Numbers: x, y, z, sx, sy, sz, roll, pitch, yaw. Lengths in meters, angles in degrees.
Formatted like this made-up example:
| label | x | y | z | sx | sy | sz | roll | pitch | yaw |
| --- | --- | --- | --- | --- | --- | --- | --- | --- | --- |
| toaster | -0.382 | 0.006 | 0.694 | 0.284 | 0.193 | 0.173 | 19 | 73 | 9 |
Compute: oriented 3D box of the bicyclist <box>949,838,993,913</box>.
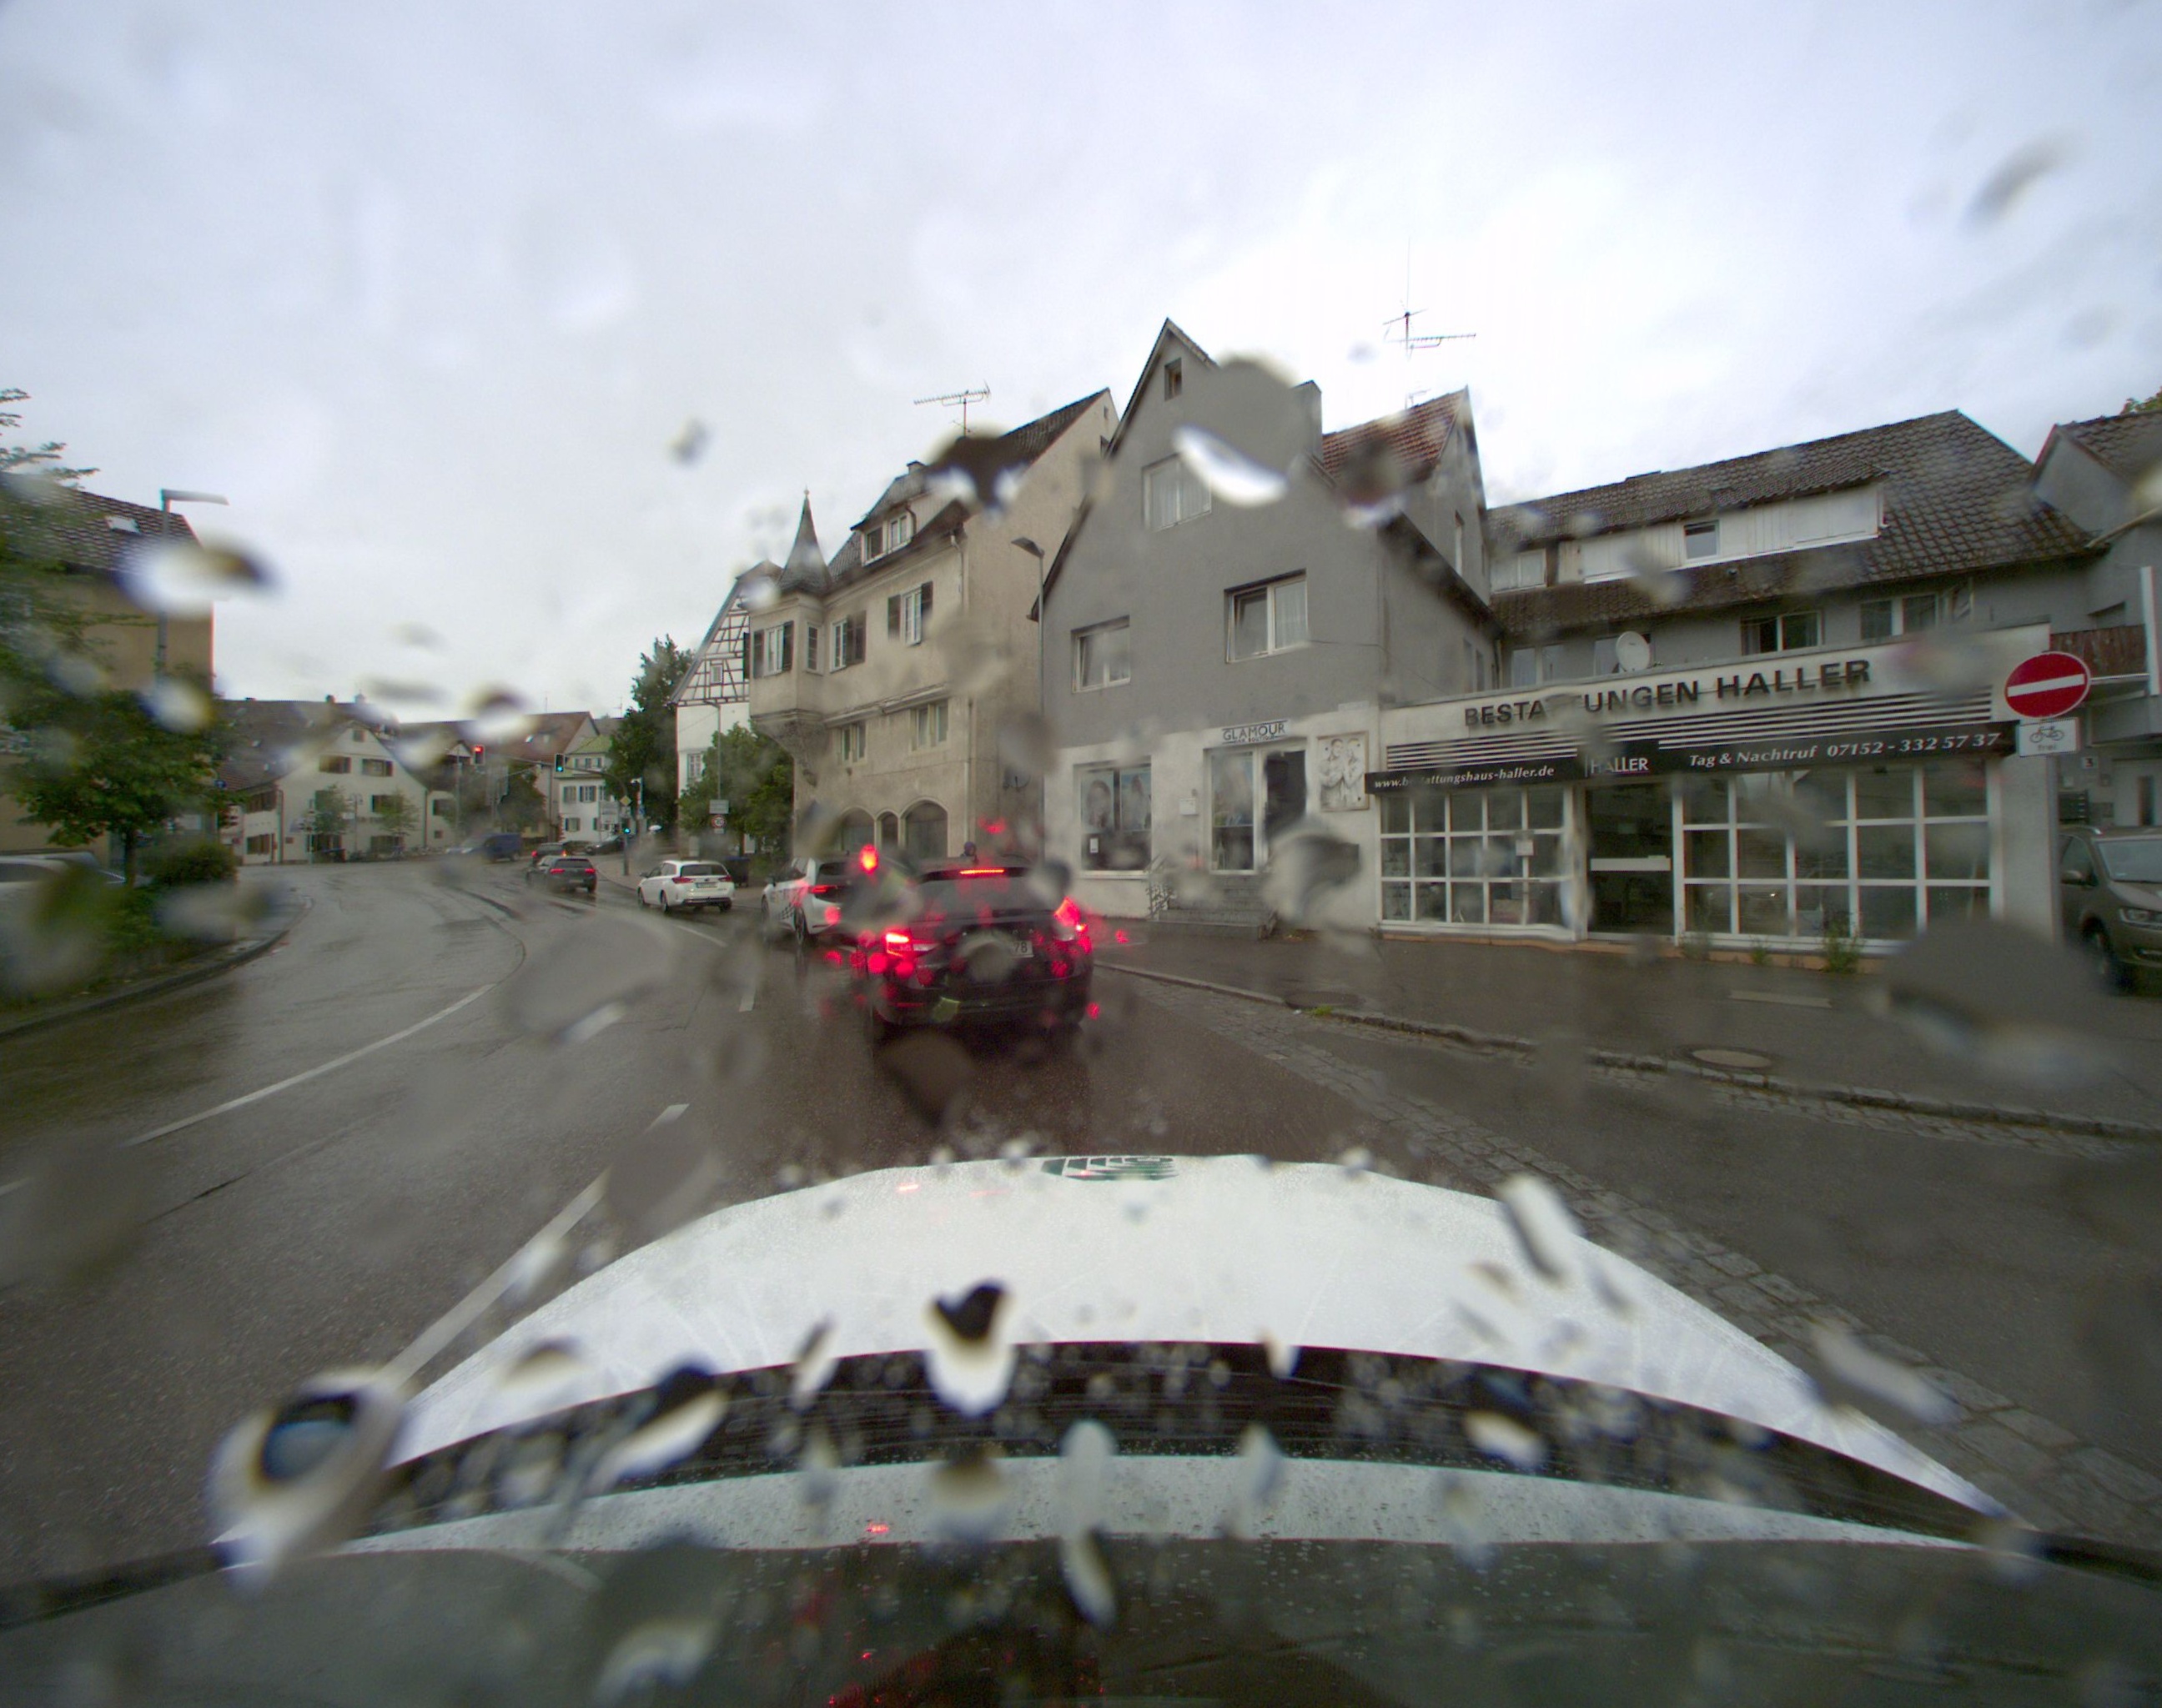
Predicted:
| label | x | y | z | sx | sy | sz | roll | pitch | yaw |
| --- | --- | --- | --- | --- | --- | --- | --- | --- | --- |
| bicyclist | -2.313 | 0.428 | 17.057 | 0.685 | 1.517 | 1.023 | 0 | 1 | -21 |

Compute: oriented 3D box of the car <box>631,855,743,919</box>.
| label | x | y | z | sx | sy | sz | roll | pitch | yaw |
| --- | --- | --- | --- | --- | --- | --- | --- | --- | --- |
| car | -11.302 | 0.847 | 23.225 | 1.901 | 1.596 | 4.275 | 0 | 1 | -40 |

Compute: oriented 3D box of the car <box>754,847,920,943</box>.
| label | x | y | z | sx | sy | sz | roll | pitch | yaw |
| --- | --- | --- | --- | --- | --- | --- | --- | --- | --- |
| car | -4.517 | 0.615 | 14.685 | 1.869 | 1.473 | 3.959 | 0 | 0 | -32 |

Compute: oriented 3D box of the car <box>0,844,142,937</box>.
| label | x | y | z | sx | sy | sz | roll | pitch | yaw |
| --- | --- | --- | --- | --- | --- | --- | --- | --- | --- |
| car | -24.915 | 0.941 | 18.034 | 1.938 | 1.824 | 4.967 | 2 | 7 | 29 |

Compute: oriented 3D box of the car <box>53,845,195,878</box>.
| label | x | y | z | sx | sy | sz | roll | pitch | yaw |
| --- | --- | --- | --- | --- | --- | --- | --- | --- | --- |
| car | -48.271 | 0.349 | 41.171 | 1.839 | 1.546 | 4.524 | -2 | -1 | 36 |

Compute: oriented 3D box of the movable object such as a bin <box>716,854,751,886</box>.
| label | x | y | z | sx | sy | sz | roll | pitch | yaw |
| --- | --- | --- | --- | --- | --- | --- | --- | --- | --- |
| movable object such as a bin | -14.696 | 0.671 | 34.420 | 1.163 | 1.313 | 1.173 | 0 | 0 | -36 |

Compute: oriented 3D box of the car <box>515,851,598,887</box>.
| label | x | y | z | sx | sy | sz | roll | pitch | yaw |
| --- | --- | --- | --- | --- | --- | --- | --- | --- | --- |
| car | -21.278 | 0.558 | 32.973 | 3.950 | 1.302 | 2.012 | 1 | 1 | 44 |

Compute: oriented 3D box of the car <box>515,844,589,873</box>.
| label | x | y | z | sx | sy | sz | roll | pitch | yaw |
| --- | --- | --- | --- | --- | --- | --- | --- | --- | --- |
| car | -29.061 | 0.268 | 44.851 | 1.575 | 1.524 | 3.438 | -1 | -1 | 6 |

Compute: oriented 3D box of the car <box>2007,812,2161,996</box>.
| label | x | y | z | sx | sy | sz | roll | pitch | yaw |
| --- | --- | --- | --- | --- | --- | --- | --- | --- | --- |
| car | 12.353 | 0.431 | 9.161 | 1.974 | 1.771 | 4.026 | 0 | 2 | 40 |

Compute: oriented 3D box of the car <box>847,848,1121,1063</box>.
| label | x | y | z | sx | sy | sz | roll | pitch | yaw |
| --- | --- | --- | --- | --- | --- | --- | --- | --- | --- |
| car | -1.240 | 0.685 | 7.934 | 1.891 | 1.448 | 4.331 | 0 | 0 | -17 |

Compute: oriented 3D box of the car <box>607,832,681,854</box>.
| label | x | y | z | sx | sy | sz | roll | pitch | yaw |
| --- | --- | --- | --- | --- | --- | --- | --- | --- | --- |
| car | -33.276 | -0.799 | 62.111 | 1.974 | 1.591 | 4.507 | 0 | -1 | 35 |

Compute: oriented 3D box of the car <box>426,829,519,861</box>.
| label | x | y | z | sx | sy | sz | roll | pitch | yaw |
| --- | --- | --- | --- | --- | --- | --- | --- | --- | --- |
| car | -36.985 | -0.540 | 49.665 | 1.982 | 1.881 | 4.389 | 0 | 0 | 9 |

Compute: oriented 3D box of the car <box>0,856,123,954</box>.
| label | x | y | z | sx | sy | sz | roll | pitch | yaw |
| --- | --- | --- | --- | --- | --- | --- | --- | --- | --- |
| car | -19.022 | 0.858 | 13.470 | 1.976 | 1.629 | 3.665 | 0 | 0 | 22 |
